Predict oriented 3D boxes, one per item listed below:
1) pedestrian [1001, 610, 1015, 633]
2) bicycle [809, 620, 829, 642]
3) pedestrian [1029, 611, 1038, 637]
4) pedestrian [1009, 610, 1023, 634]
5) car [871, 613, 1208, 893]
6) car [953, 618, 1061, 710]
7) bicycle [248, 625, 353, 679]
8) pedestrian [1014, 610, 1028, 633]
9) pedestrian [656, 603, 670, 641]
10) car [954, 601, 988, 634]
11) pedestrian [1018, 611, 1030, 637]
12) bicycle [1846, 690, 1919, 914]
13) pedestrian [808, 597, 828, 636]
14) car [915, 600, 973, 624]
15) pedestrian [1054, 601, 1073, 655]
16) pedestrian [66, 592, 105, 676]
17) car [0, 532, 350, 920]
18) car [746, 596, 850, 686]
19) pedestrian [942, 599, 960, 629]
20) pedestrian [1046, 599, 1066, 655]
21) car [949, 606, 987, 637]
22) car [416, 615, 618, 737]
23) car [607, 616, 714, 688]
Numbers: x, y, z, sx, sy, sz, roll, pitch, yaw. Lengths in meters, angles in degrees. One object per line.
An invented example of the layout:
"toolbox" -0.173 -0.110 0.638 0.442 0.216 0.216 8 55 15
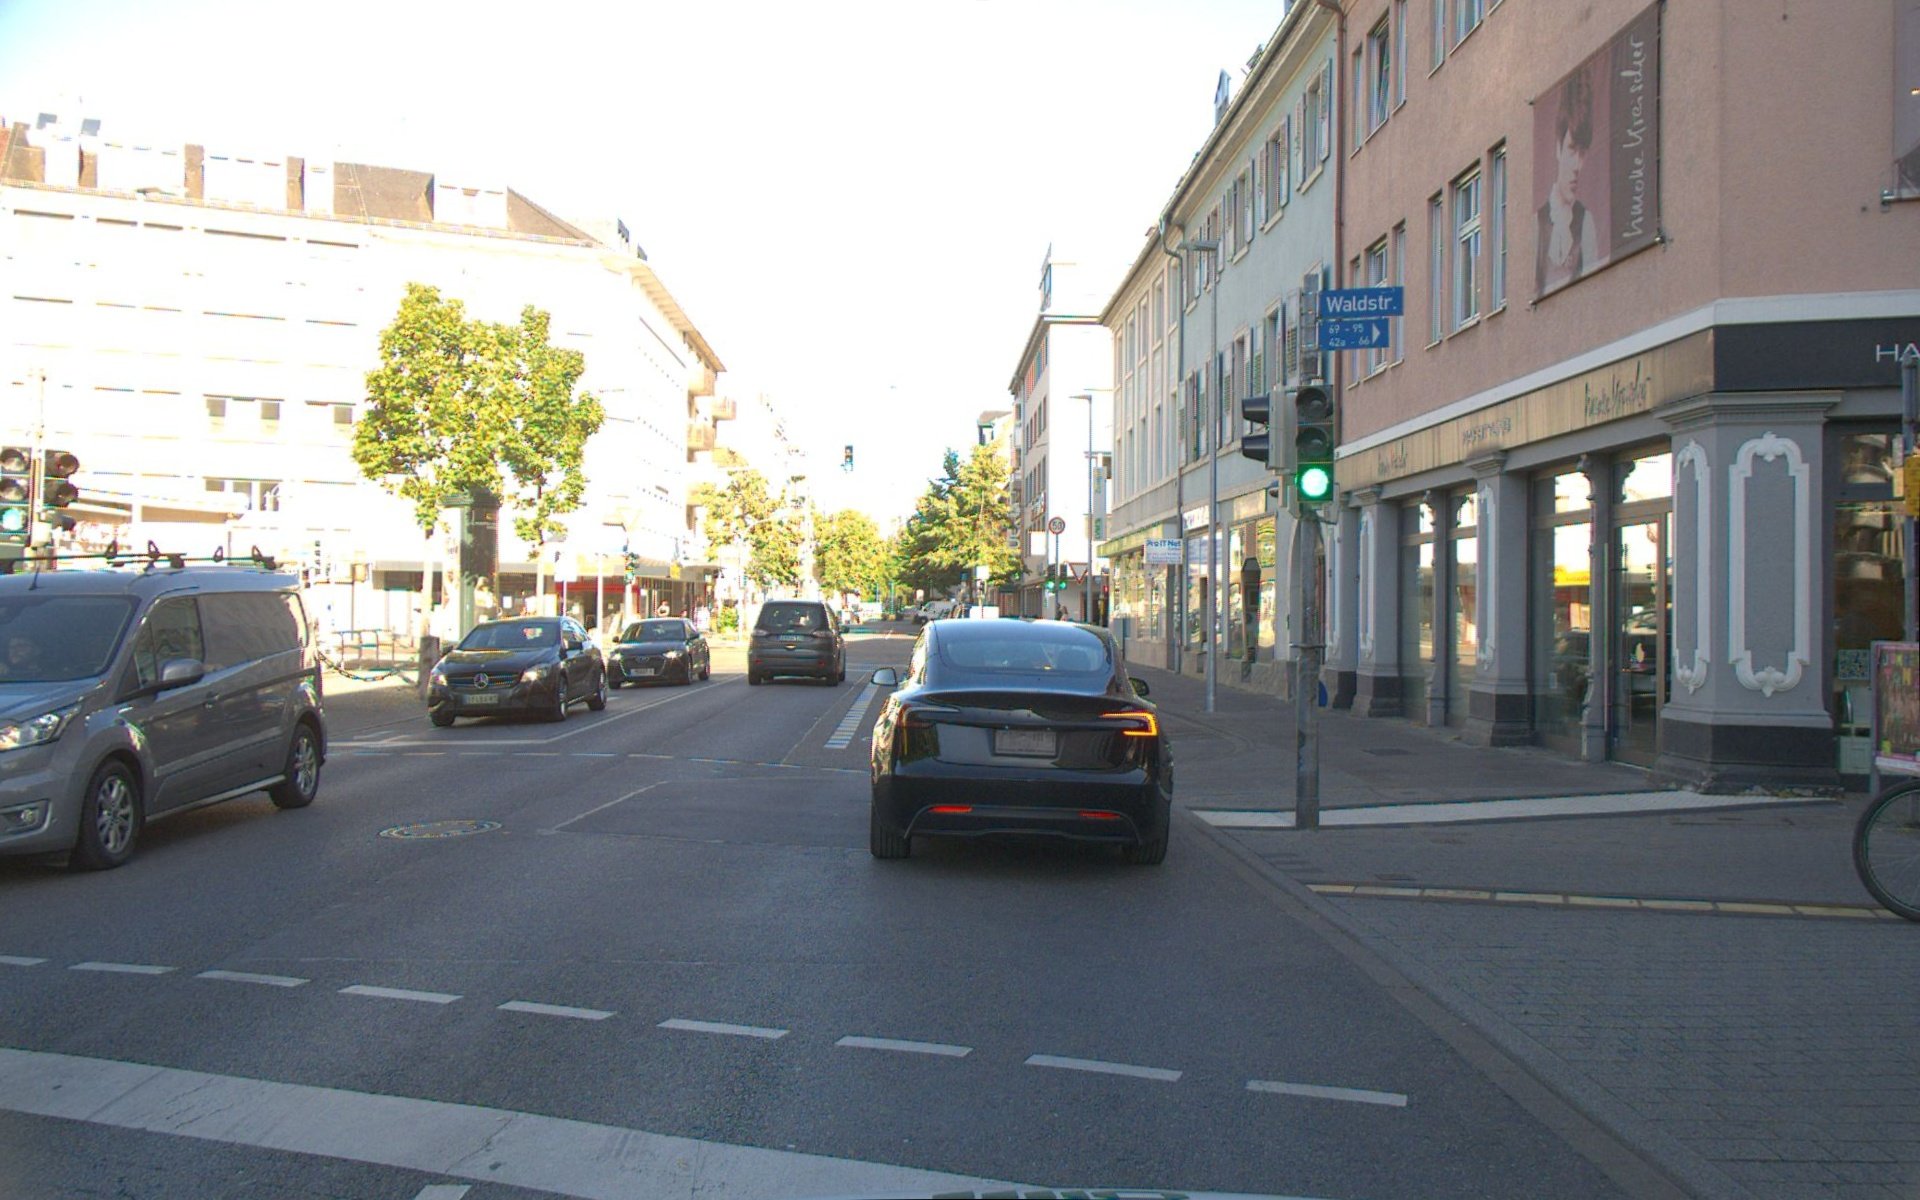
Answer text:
"pedestrian" 2.823 1.267 97.105 0.695 1.371 1.059 0 -1 -5
"bicycle" -6.963 1.532 81.676 0.745 1.025 1.719 -3 0 -13
"pedestrian" 3.884 1.249 87.311 0.477 1.345 0.654 0 -1 6
"pedestrian" 3.249 1.266 96.009 0.716 1.371 1.059 0 0 -4
"car" 0.402 0.851 11.183 1.831 1.452 4.363 0 0 -1
"car" 0.764 1.065 28.906 1.725 1.443 4.354 1 0 0
"bicycle" -14.285 1.123 35.862 1.947 1.107 0.753 1 0 0
"pedestrian" 3.586 1.265 97.290 0.716 1.384 0.958 0 -1 -2
"pedestrian" -13.617 1.014 75.889 0.547 1.739 0.711 0 -1 -4
"car" 0.637 1.014 98.534 1.865 1.884 4.287 0 0 -2
"pedestrian" 3.365 1.246 86.514 0.574 1.336 0.560 0 -1 -2
"bicycle" 5.298 0.990 7.883 1.872 1.037 0.560 0 0 26
"pedestrian" -7.007 0.822 81.717 0.765 1.899 0.997 -2 1 -16
"car" -1.519 1.134 153.775 5.283 2.183 1.999 0 0 -3
"pedestrian" 3.457 0.935 55.226 0.561 1.790 0.649 1 0 -2
"pedestrian" -18.340 0.704 34.681 0.508 1.739 0.611 0 0 -2
"car" -5.805 0.677 10.836 1.953 1.981 4.781 -2 0 -2
"car" -3.331 0.813 34.779 1.865 1.763 4.287 0 0 -2
"pedestrian" -0.580 0.939 108.536 0.937 1.949 1.106 0 -1 14
"pedestrian" 3.245 0.892 55.763 0.627 1.874 0.681 0 0 -2
"car" 0.419 1.156 92.097 1.960 1.665 4.287 0 0 -2
"car" -6.157 1.003 23.479 1.713 1.448 4.254 -3 0 -1
"car" -6.407 1.083 35.707 1.616 1.422 4.042 -1 0 -1
